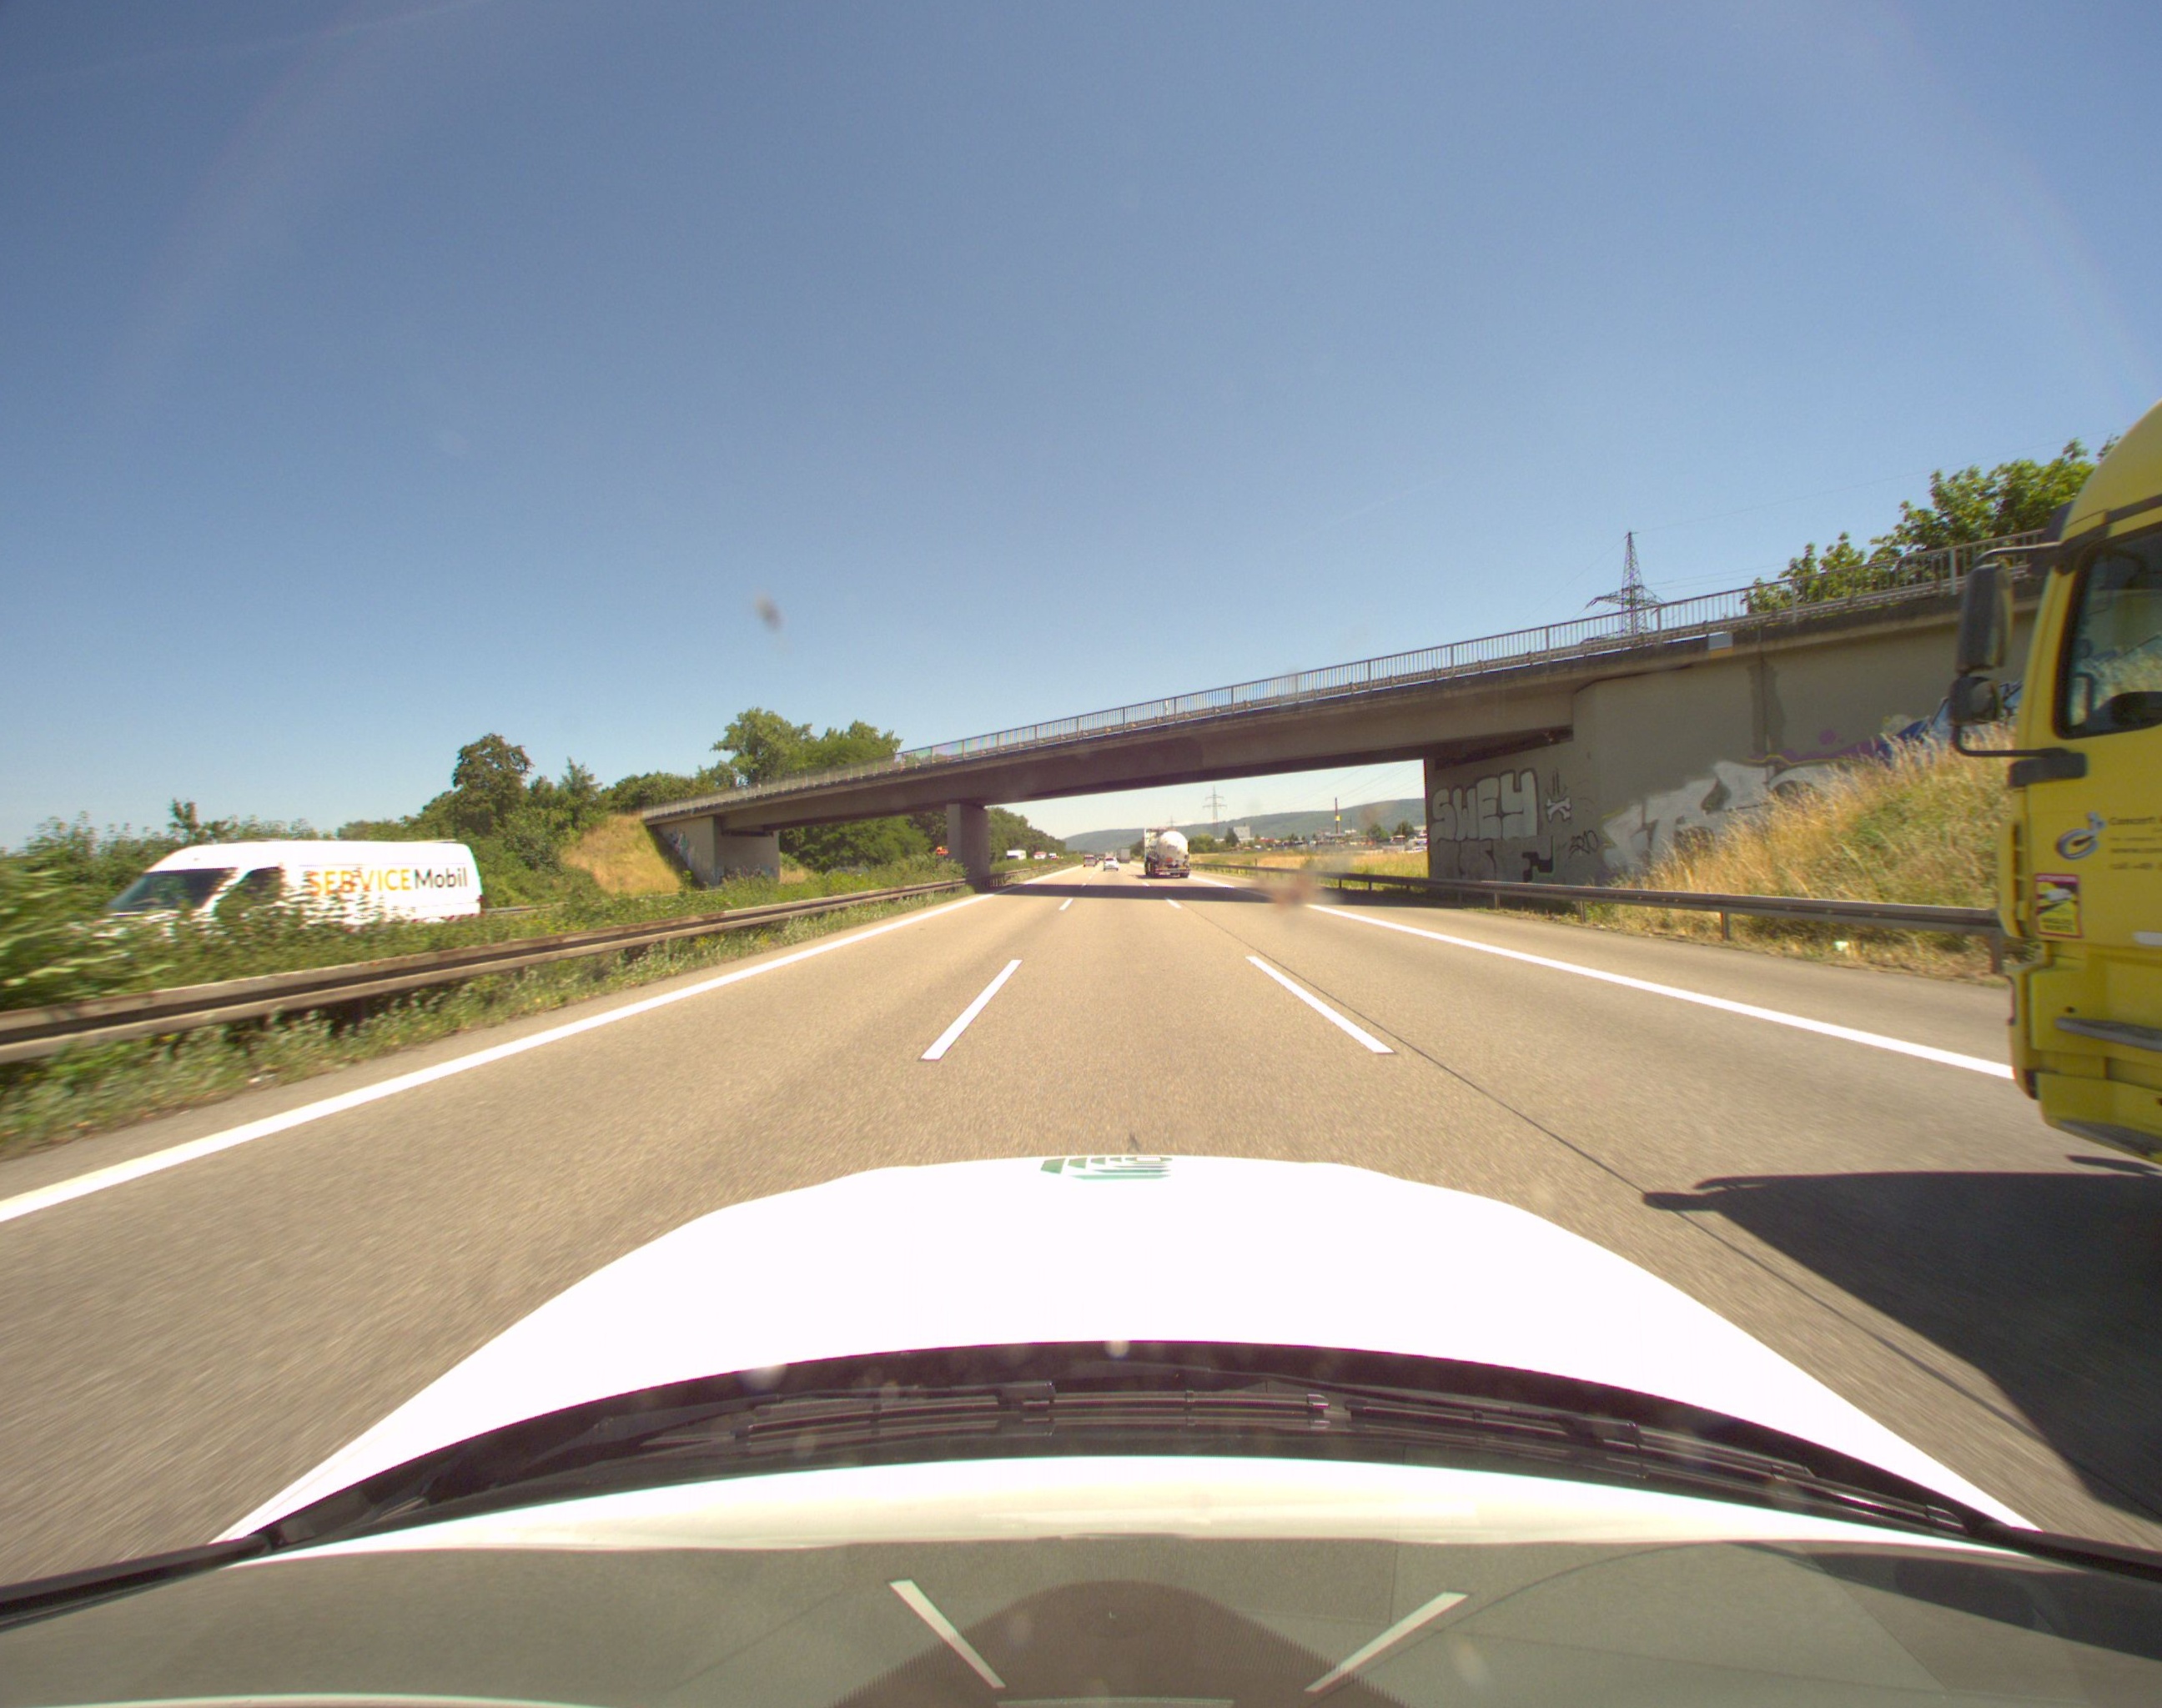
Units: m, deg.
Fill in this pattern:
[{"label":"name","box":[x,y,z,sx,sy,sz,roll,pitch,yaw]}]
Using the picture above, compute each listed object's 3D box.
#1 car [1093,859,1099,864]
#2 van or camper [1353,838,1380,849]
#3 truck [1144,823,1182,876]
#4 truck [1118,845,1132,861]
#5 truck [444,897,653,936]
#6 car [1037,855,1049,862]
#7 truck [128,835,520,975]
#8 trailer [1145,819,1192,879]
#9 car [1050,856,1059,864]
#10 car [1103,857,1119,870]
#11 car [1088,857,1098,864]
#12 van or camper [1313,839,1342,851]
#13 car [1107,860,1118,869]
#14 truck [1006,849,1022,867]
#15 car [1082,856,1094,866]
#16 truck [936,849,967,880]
[{"label":"car","box":[4.226,1.998,228.814,1.828,1.386,4.002,0,0,2]},{"label":"van or camper","box":[73.254,-2.714,209.175,6.091,2.402,2.604,-3,0,3]},{"label":"truck","box":[6.477,-0.323,65.364,2.563,4.072,6.394,0,0,1]},{"label":"truck","box":[11.435,-0.235,211.368,3.253,3.857,11.635,0,0,2]},{"label":"truck","box":[-14.687,1.699,22.966,2.260,0.686,5.222,0,0,3]},{"label":"car","box":[-9.030,1.113,194.955,2.293,1.780,5.426,0,0,2]},{"label":"truck","box":[-15.160,0.879,17.131,1.985,2.399,6.424,0,0,3]},{"label":"trailer","box":[6.337,-0.340,60.646,2.570,4.074,11.106,0,0,1]},{"label":"car","box":[-6.313,1.389,195.567,2.085,1.780,5.459,0,0,0]},{"label":"car","box":[3.402,1.040,93.215,1.799,1.468,4.002,0,0,2]},{"label":"car","box":[2.395,1.355,161.899,1.828,1.386,4.002,0,0,2]},{"label":"van or camper","box":[60.260,-2.205,199.039,6.316,2.552,2.440,-3,0,3]},{"label":"car","box":[5.458,1.776,142.065,1.877,1.515,4.002,0,0,2]},{"label":"truck","box":[-14.095,0.918,170.888,2.785,3.721,5.119,0,0,2]},{"label":"car","box":[1.191,1.168,134.877,1.845,1.633,4.002,0,0,2]},{"label":"truck","box":[-16.466,1.288,103.857,2.602,3.898,6.502,0,0,2]}]
